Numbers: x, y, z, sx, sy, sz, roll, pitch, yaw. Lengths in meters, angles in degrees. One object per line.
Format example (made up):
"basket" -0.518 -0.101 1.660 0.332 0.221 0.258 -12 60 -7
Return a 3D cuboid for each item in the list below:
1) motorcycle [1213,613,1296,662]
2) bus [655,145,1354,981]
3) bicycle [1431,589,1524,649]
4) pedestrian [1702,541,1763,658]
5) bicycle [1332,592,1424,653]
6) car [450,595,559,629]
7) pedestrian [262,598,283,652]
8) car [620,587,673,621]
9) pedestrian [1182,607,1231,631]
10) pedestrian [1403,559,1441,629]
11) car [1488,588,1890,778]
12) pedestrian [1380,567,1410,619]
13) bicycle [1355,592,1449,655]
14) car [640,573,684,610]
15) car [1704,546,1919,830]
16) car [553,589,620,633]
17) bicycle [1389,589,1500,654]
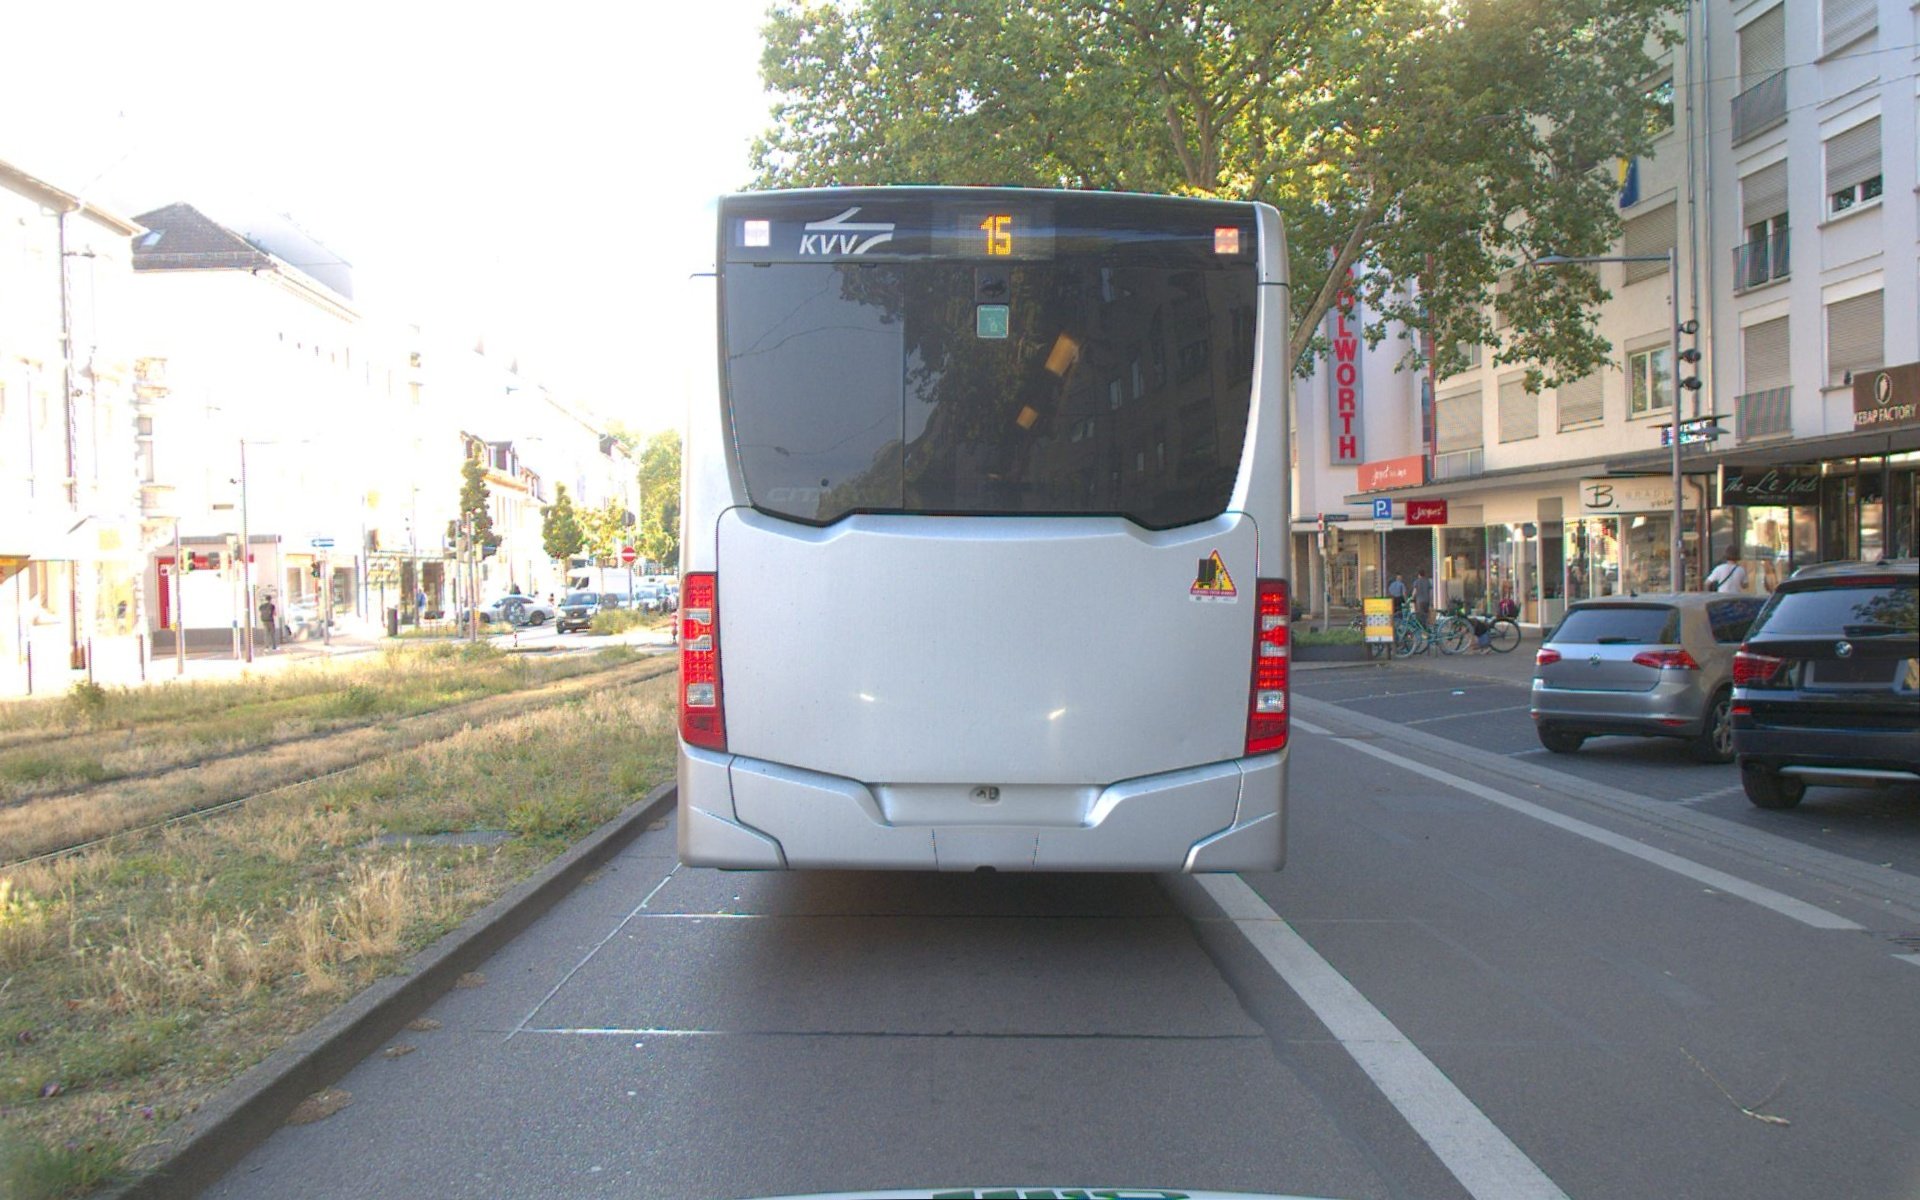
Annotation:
"motorcycle" 5.956 0.754 33.458 1.539 0.908 0.544 -2 0 -4
"bus" 0.195 -0.189 9.777 2.623 3.137 7.114 0 1 0
"bicycle" 10.828 0.394 34.648 1.727 1.174 0.679 -3 0 8
"pedestrian" 12.861 -0.013 27.549 0.629 1.909 0.825 -1 0 4
"bicycle" 9.264 0.499 36.718 1.836 1.210 0.712 -4 0 8
"car" -21.264 0.552 77.279 4.504 1.437 1.974 -2 1 -37
"pedestrian" -22.642 0.826 54.472 0.417 1.743 0.508 -1 0 3
"car" -15.609 0.171 82.532 1.744 1.475 4.045 -3 2 1
"pedestrian" 6.606 0.503 44.313 1.229 0.599 0.482 -1 0 -3
"pedestrian" 12.221 -0.156 43.757 0.764 1.825 0.764 -1 0 -1
"car" 6.968 0.685 15.645 4.136 1.477 1.785 -2 0 -39
"pedestrian" 14.916 -0.249 56.769 0.733 1.708 0.834 -1 2 -7
"bicycle" 9.538 0.511 35.712 1.753 1.210 0.671 -4 0 -9
"car" -17.139 -0.505 95.211 1.954 2.049 3.997 -1 0 -3
"car" 7.042 0.484 11.608 4.115 1.710 1.782 -2 0 -42
"car" -14.542 0.404 64.518 1.687 1.535 3.476 -4 0 0
"bicycle" 10.023 0.435 34.245 2.037 1.254 0.832 -2 0 4
